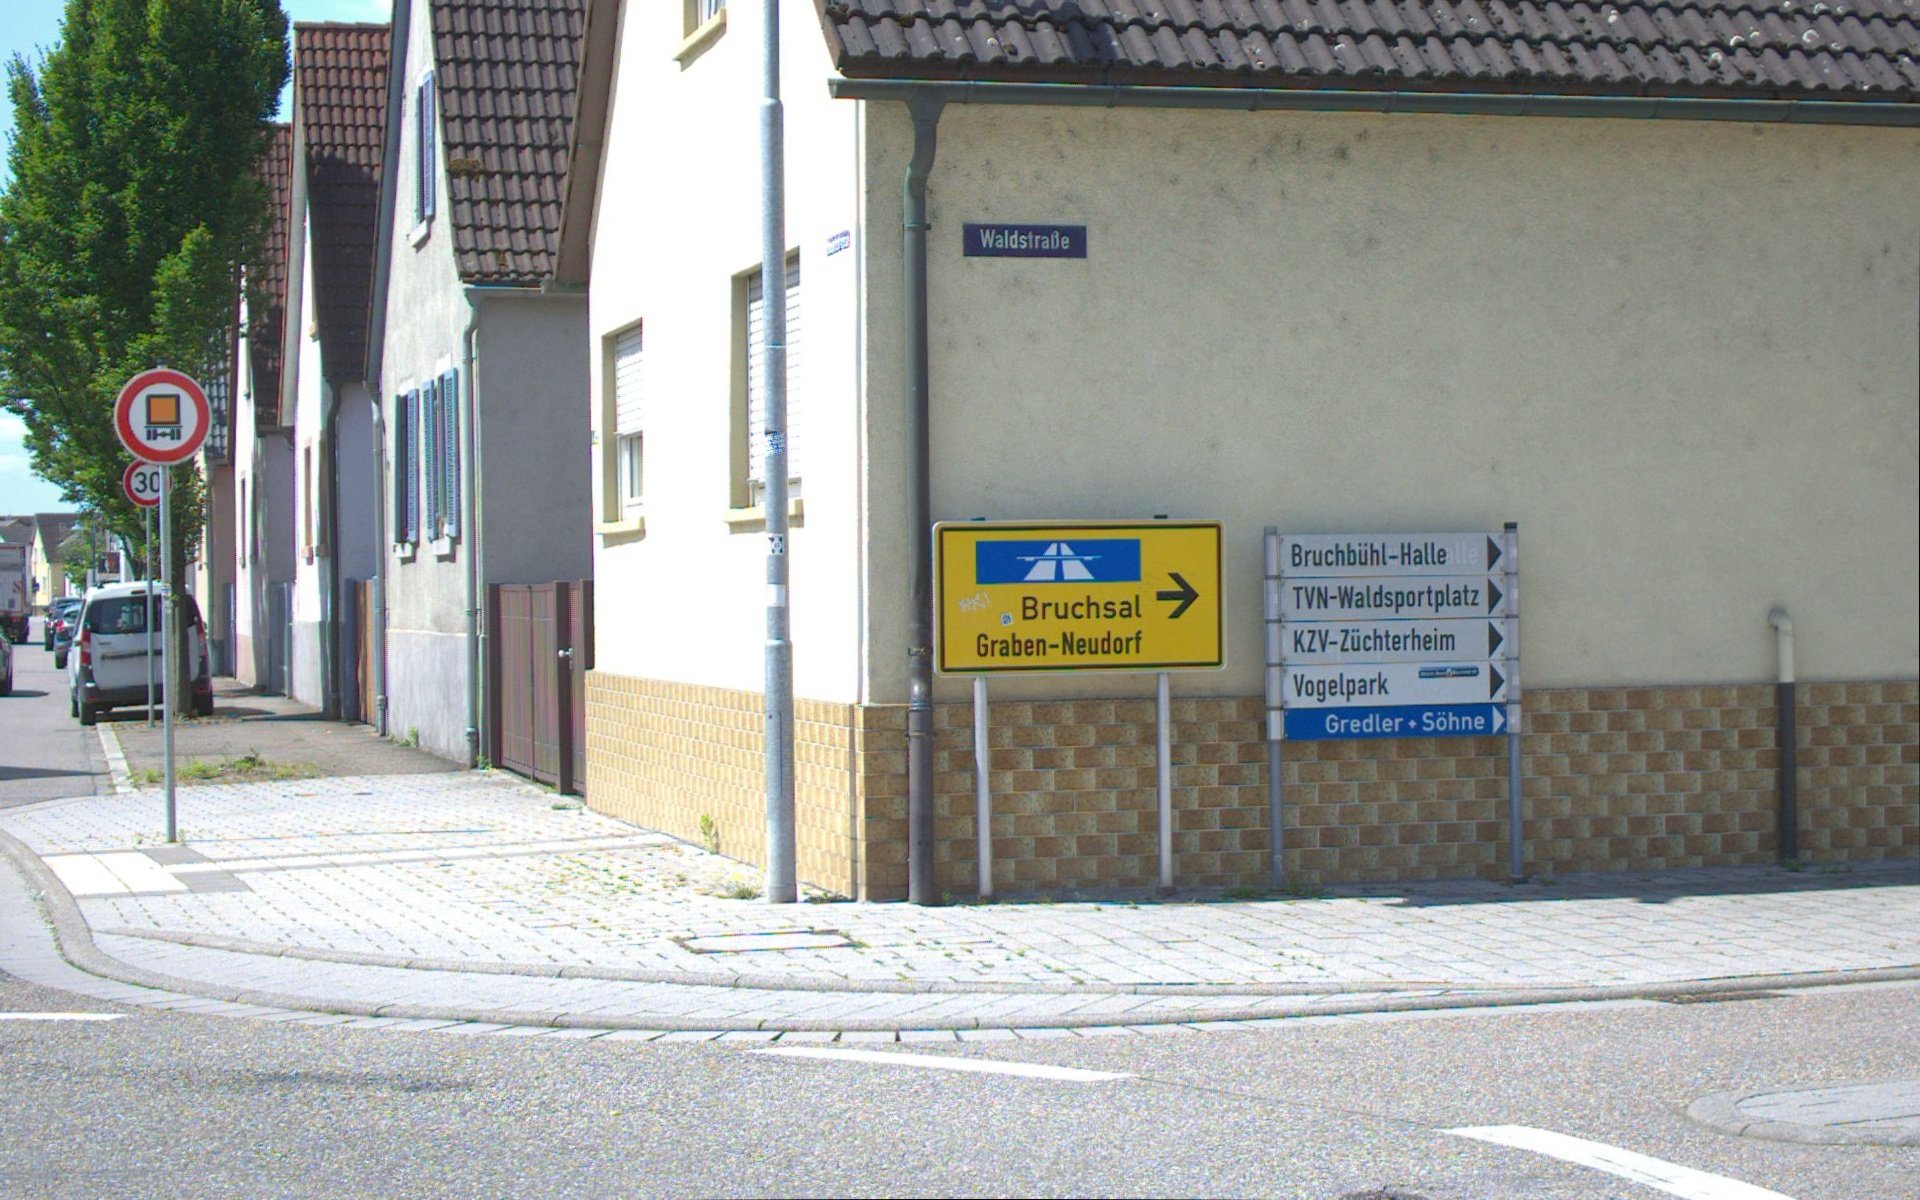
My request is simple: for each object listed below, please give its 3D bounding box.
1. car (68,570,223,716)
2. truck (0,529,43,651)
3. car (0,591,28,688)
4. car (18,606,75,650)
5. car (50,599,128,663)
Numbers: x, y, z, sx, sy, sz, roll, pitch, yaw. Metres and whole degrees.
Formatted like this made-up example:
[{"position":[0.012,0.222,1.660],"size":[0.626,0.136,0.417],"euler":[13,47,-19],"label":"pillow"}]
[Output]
[{"position":[-10.871,0.540,45.726],"size":[1.719,1.784,4.145],"euler":[-2,1,-17],"label":"car"},{"position":[-34.981,-0.322,124.434],"size":[3.144,4.236,9.304],"euler":[1,-1,-14],"label":"truck"},{"position":[-16.653,0.628,57.609],"size":[1.901,1.558,4.477],"euler":[0,0,-14],"label":"car"},{"position":[-28.801,0.862,108.428],"size":[1.719,1.350,4.158],"euler":[0,0,-15],"label":"car"},{"position":[-20.566,0.709,81.279],"size":[1.719,1.456,4.158],"euler":[0,0,-13],"label":"car"}]
